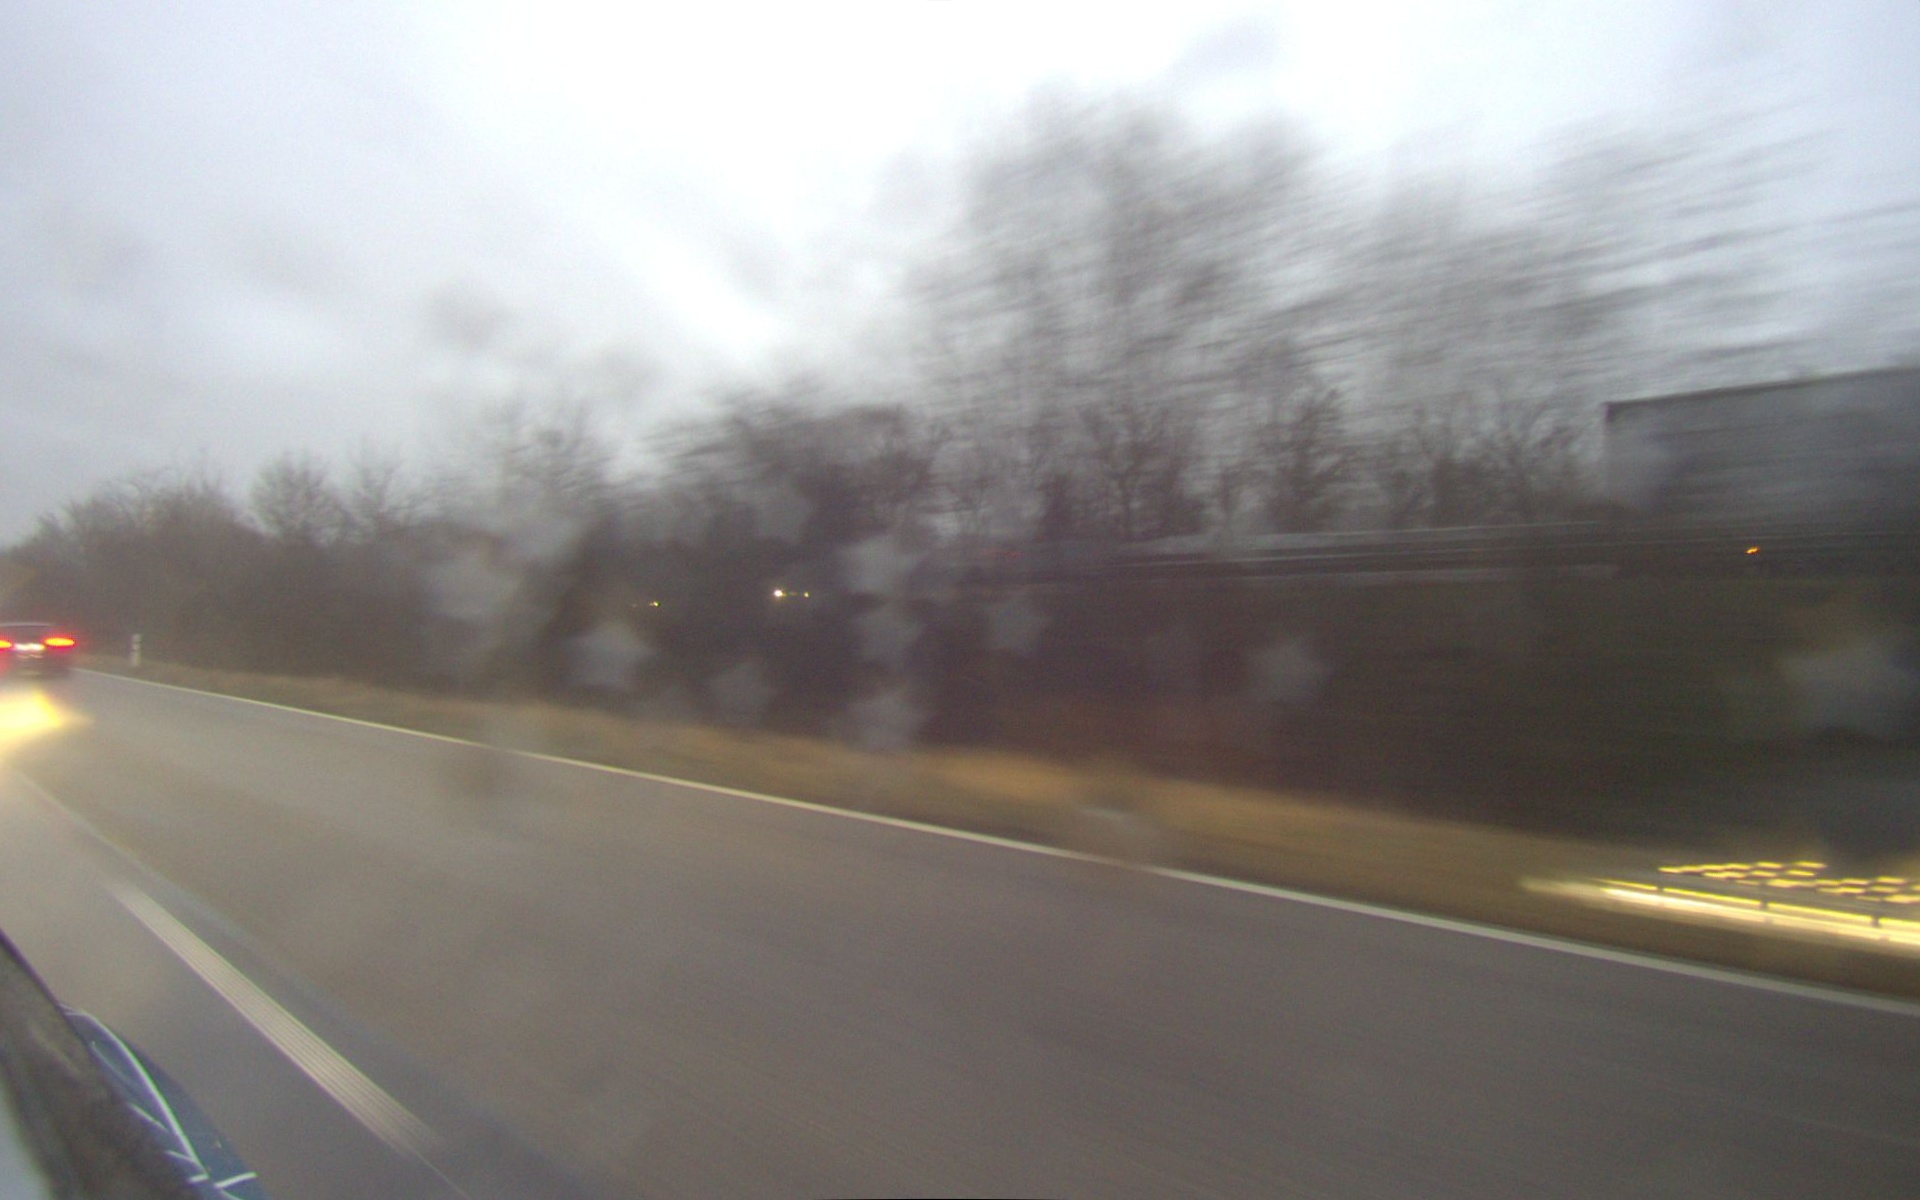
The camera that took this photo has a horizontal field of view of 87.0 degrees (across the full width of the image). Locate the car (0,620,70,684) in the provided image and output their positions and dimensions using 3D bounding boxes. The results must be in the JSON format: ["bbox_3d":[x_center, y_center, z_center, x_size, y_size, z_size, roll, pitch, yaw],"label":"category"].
[{"bbox_3d":[-23.736,1.265,25.394,3.870,1.475,1.628,-1,-1,41],"label":"car"}]

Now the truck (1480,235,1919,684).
[{"bbox_3d":[28.886,-2.581,11.684,40.130,7.771,7.465,-1,0,41],"label":"truck"}]
